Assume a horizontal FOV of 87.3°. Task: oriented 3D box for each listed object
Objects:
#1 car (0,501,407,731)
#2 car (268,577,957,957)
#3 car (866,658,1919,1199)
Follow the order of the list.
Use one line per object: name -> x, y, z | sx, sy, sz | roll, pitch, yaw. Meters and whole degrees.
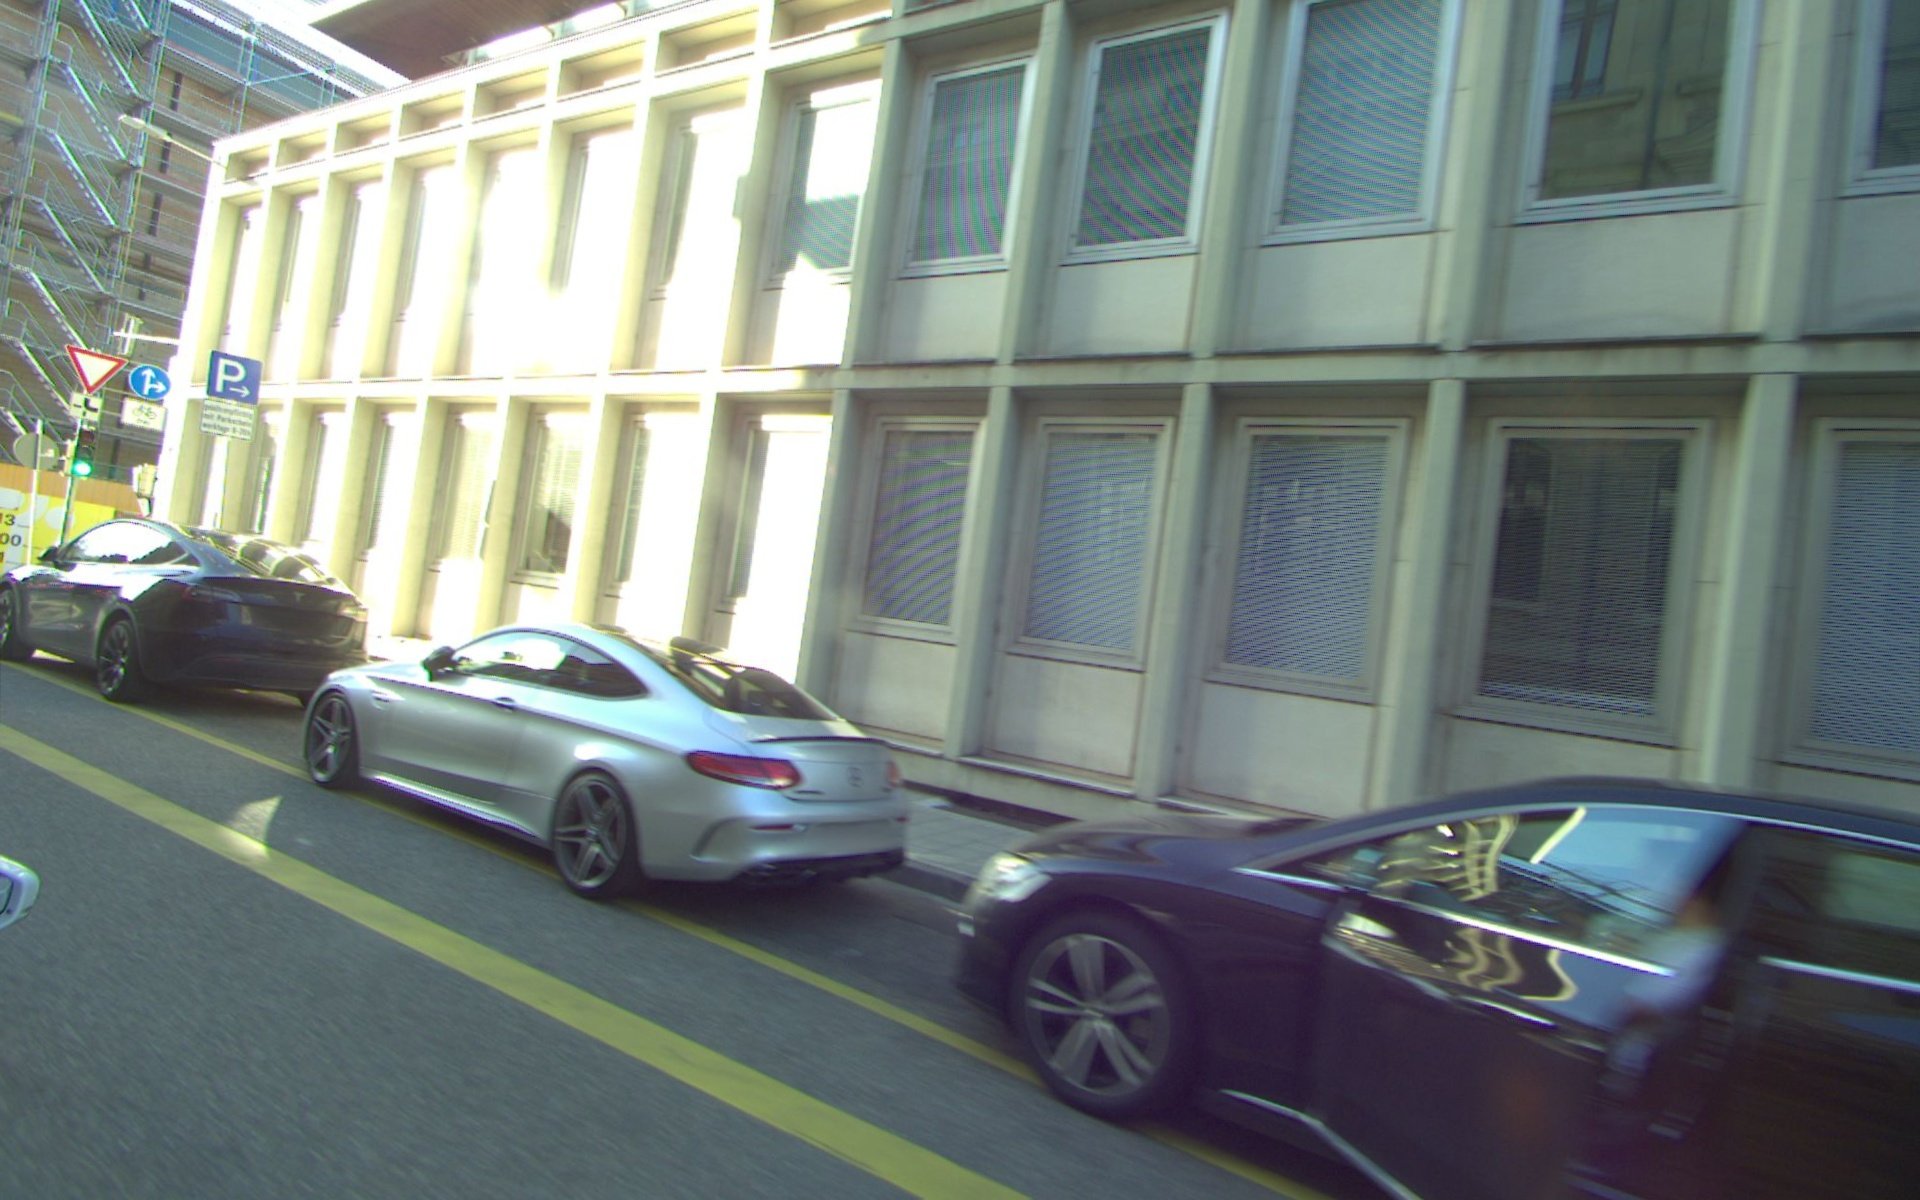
car -> -7.843, 0.103, 10.066 | 4.545, 1.641, 1.899 | 7, -3, 32
car -> -2.426, 0.831, 6.491 | 4.525, 1.358, 1.700 | 6, -4, 34
car -> 2.155, 1.306, 3.481 | 4.712, 1.486, 1.702 | 7, -3, 31
